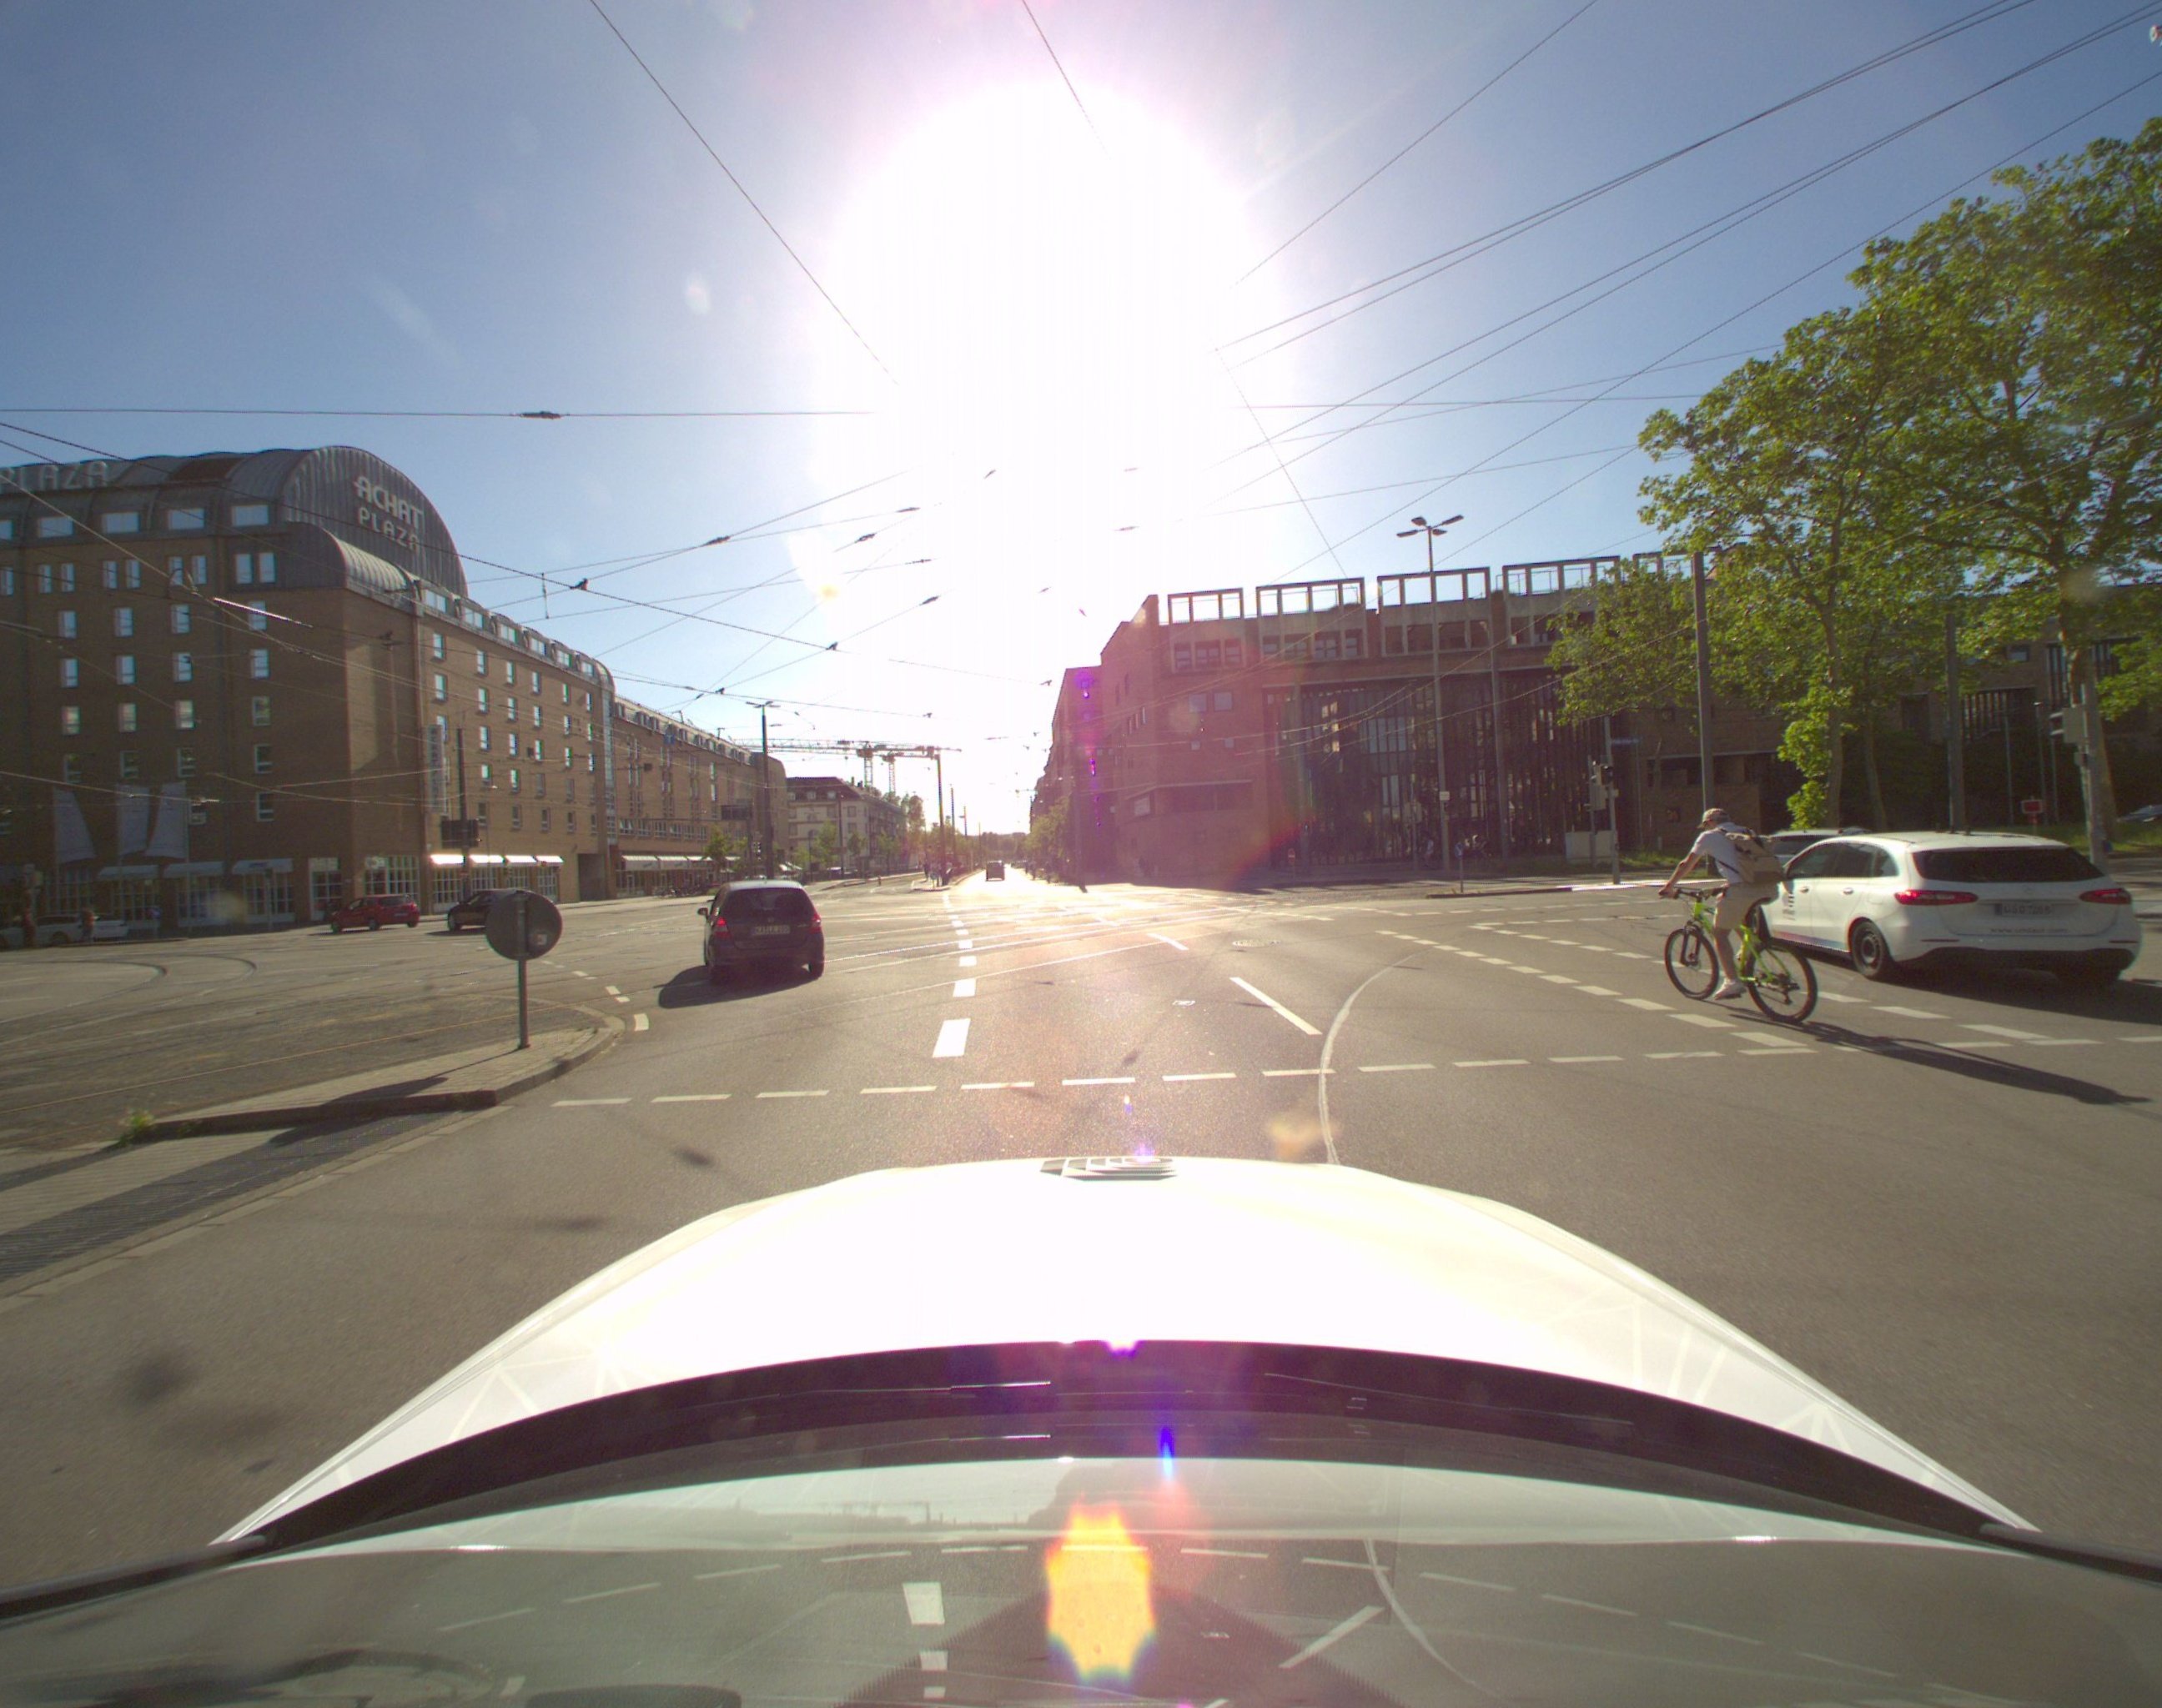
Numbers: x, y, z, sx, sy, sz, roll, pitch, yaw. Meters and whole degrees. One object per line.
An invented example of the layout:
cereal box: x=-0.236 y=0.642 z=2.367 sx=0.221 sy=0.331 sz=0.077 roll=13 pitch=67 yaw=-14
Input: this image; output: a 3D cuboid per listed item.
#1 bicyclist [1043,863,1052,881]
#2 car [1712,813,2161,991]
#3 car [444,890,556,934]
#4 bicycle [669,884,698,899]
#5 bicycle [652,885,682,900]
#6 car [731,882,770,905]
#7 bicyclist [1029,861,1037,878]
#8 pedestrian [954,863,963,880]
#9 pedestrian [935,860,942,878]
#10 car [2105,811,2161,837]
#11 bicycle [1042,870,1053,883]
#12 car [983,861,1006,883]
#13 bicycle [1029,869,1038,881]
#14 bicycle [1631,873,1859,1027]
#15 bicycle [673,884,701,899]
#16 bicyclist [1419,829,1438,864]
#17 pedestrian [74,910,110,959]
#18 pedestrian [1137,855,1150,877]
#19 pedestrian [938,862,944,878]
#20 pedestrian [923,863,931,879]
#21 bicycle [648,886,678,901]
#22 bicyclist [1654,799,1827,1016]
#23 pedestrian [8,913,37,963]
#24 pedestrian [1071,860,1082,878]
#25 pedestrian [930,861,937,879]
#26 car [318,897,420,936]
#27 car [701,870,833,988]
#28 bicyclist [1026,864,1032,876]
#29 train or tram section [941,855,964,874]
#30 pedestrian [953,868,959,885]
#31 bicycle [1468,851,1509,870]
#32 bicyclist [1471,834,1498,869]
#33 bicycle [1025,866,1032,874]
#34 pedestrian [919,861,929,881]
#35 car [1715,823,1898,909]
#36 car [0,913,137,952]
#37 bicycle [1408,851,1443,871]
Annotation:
bicyclist: x=-2.643 y=1.419 z=63.949 sx=0.592 sy=1.335 sz=0.931 roll=-2 pitch=-1 yaw=-8
car: x=9.371 y=0.417 z=9.508 sx=1.891 sy=1.583 sz=4.158 roll=-1 pitch=0 yaw=18
car: x=-21.625 y=2.152 z=30.260 sx=4.462 sy=1.449 sz=1.743 roll=-3 pitch=0 yaw=32
bicycle: x=-39.703 y=3.765 z=81.279 sx=2.473 sy=1.310 sz=0.734 roll=-3 pitch=-1 yaw=4
bicycle: x=-40.631 y=3.809 z=79.922 sx=2.473 sy=1.310 sz=0.734 roll=-3 pitch=-1 yaw=4
car: x=-25.740 y=3.082 z=63.550 sx=1.607 sy=1.398 sz=3.912 roll=-7 pitch=1 yaw=-6
bicyclist: x=-4.505 y=1.434 z=76.526 sx=0.667 sy=1.527 sz=0.705 roll=-2 pitch=-1 yaw=-8
pedestrian: x=-12.944 y=1.860 z=86.372 sx=0.720 sy=1.735 sz=0.597 roll=-3 pitch=-1 yaw=-25
pedestrian: x=-14.458 y=1.559 z=82.732 sx=0.538 sy=1.773 sz=0.631 roll=-3 pitch=-1 yaw=-8
car: x=58.914 y=-1.701 z=44.350 sx=3.972 sy=1.266 sz=1.739 roll=-3 pitch=-1 yaw=1
bicycle: x=-2.659 y=1.783 z=64.167 sx=0.602 sy=0.985 sz=2.308 roll=-2 pitch=-1 yaw=-8
car: x=-8.315 y=1.734 z=77.945 sx=1.992 sy=1.948 sz=3.989 roll=-3 pitch=-1 yaw=-8
bicycle: x=-4.469 y=1.963 z=76.434 sx=0.666 sy=0.985 sz=2.579 roll=-2 pitch=-1 yaw=-8
bicycle: x=5.802 y=0.774 z=7.269 sx=0.646 sy=1.110 sz=1.760 roll=-3 pitch=1 yaw=4
bicycle: x=-39.726 y=3.771 z=82.174 sx=2.473 sy=1.310 sz=0.734 roll=-3 pitch=-1 yaw=4
bicyclist: x=19.131 y=-0.416 z=44.819 sx=0.606 sy=1.884 sz=0.647 roll=-3 pitch=-1 yaw=-15
pedestrian: x=-41.006 y=3.330 z=33.782 sx=0.522 sy=1.932 sz=0.750 roll=-3 pitch=0 yaw=-6
pedestrian: x=4.573 y=0.872 z=59.674 sx=0.617 sy=1.563 sz=0.984 roll=-3 pitch=-1 yaw=-9
pedestrian: x=-13.777 y=1.534 z=80.139 sx=0.519 sy=1.551 sz=0.598 roll=-3 pitch=-1 yaw=-11
pedestrian: x=-14.799 y=1.637 z=78.369 sx=0.600 sy=1.566 sz=0.911 roll=-3 pitch=-1 yaw=-8
bicycle: x=-40.379 y=3.788 z=78.626 sx=2.473 sy=1.310 sz=0.734 roll=-3 pitch=-1 yaw=4
bicyclist: x=5.772 y=0.431 z=7.195 sx=0.646 sy=1.752 sz=1.046 roll=-3 pitch=0 yaw=4
pedestrian: x=-42.456 y=3.368 z=32.660 sx=0.518 sy=1.932 sz=0.531 roll=-3 pitch=0 yaw=20
pedestrian: x=-0.480 y=1.470 z=81.148 sx=0.879 sy=1.717 sz=0.929 roll=-3 pitch=-1 yaw=-8
pedestrian: x=-14.183 y=1.562 z=78.454 sx=0.510 sy=1.655 sz=0.759 roll=-3 pitch=-1 yaw=-8
car: x=-30.390 y=2.657 z=34.792 sx=3.544 sy=1.449 sz=1.667 roll=-3 pitch=0 yaw=18
car: x=-5.290 y=1.105 z=13.501 sx=1.735 sy=1.564 sz=3.647 roll=-3 pitch=0 yaw=-25
bicyclist: x=-6.871 y=2.150 z=106.691 sx=0.667 sy=1.527 sz=0.705 roll=-2 pitch=-1 yaw=-8
train or tram section: x=-22.125 y=1.798 z=140.634 sx=2.321 sy=3.003 sz=13.145 roll=-2 pitch=0 yaw=-3
pedestrian: x=-12.033 y=2.175 z=78.411 sx=0.538 sy=1.655 sz=0.704 roll=-3 pitch=-1 yaw=-8
bicycle: x=19.717 y=0.319 z=39.435 sx=1.666 sy=0.806 sz=0.672 roll=-3 pitch=-1 yaw=-5
bicyclist: x=19.537 y=-0.103 z=39.414 sx=0.861 sy=1.630 sz=0.671 roll=-3 pitch=-1 yaw=-5
bicycle: x=-6.847 y=2.081 z=106.625 sx=0.666 sy=0.985 sz=2.579 roll=-2 pitch=-1 yaw=-8
pedestrian: x=-13.302 y=1.456 z=69.103 sx=0.614 sy=1.669 sz=0.862 roll=-6 pitch=1 yaw=-9
car: x=14.794 y=0.177 z=16.548 sx=4.155 sy=1.541 sz=1.892 roll=-1 pitch=0 yaw=-35
car: x=-45.945 y=3.519 z=36.751 sx=4.379 sy=1.381 sz=2.069 roll=-3 pitch=0 yaw=3
bicycle: x=18.957 y=0.392 z=44.765 sx=1.671 sy=0.994 sz=0.670 roll=-3 pitch=-1 yaw=-14
